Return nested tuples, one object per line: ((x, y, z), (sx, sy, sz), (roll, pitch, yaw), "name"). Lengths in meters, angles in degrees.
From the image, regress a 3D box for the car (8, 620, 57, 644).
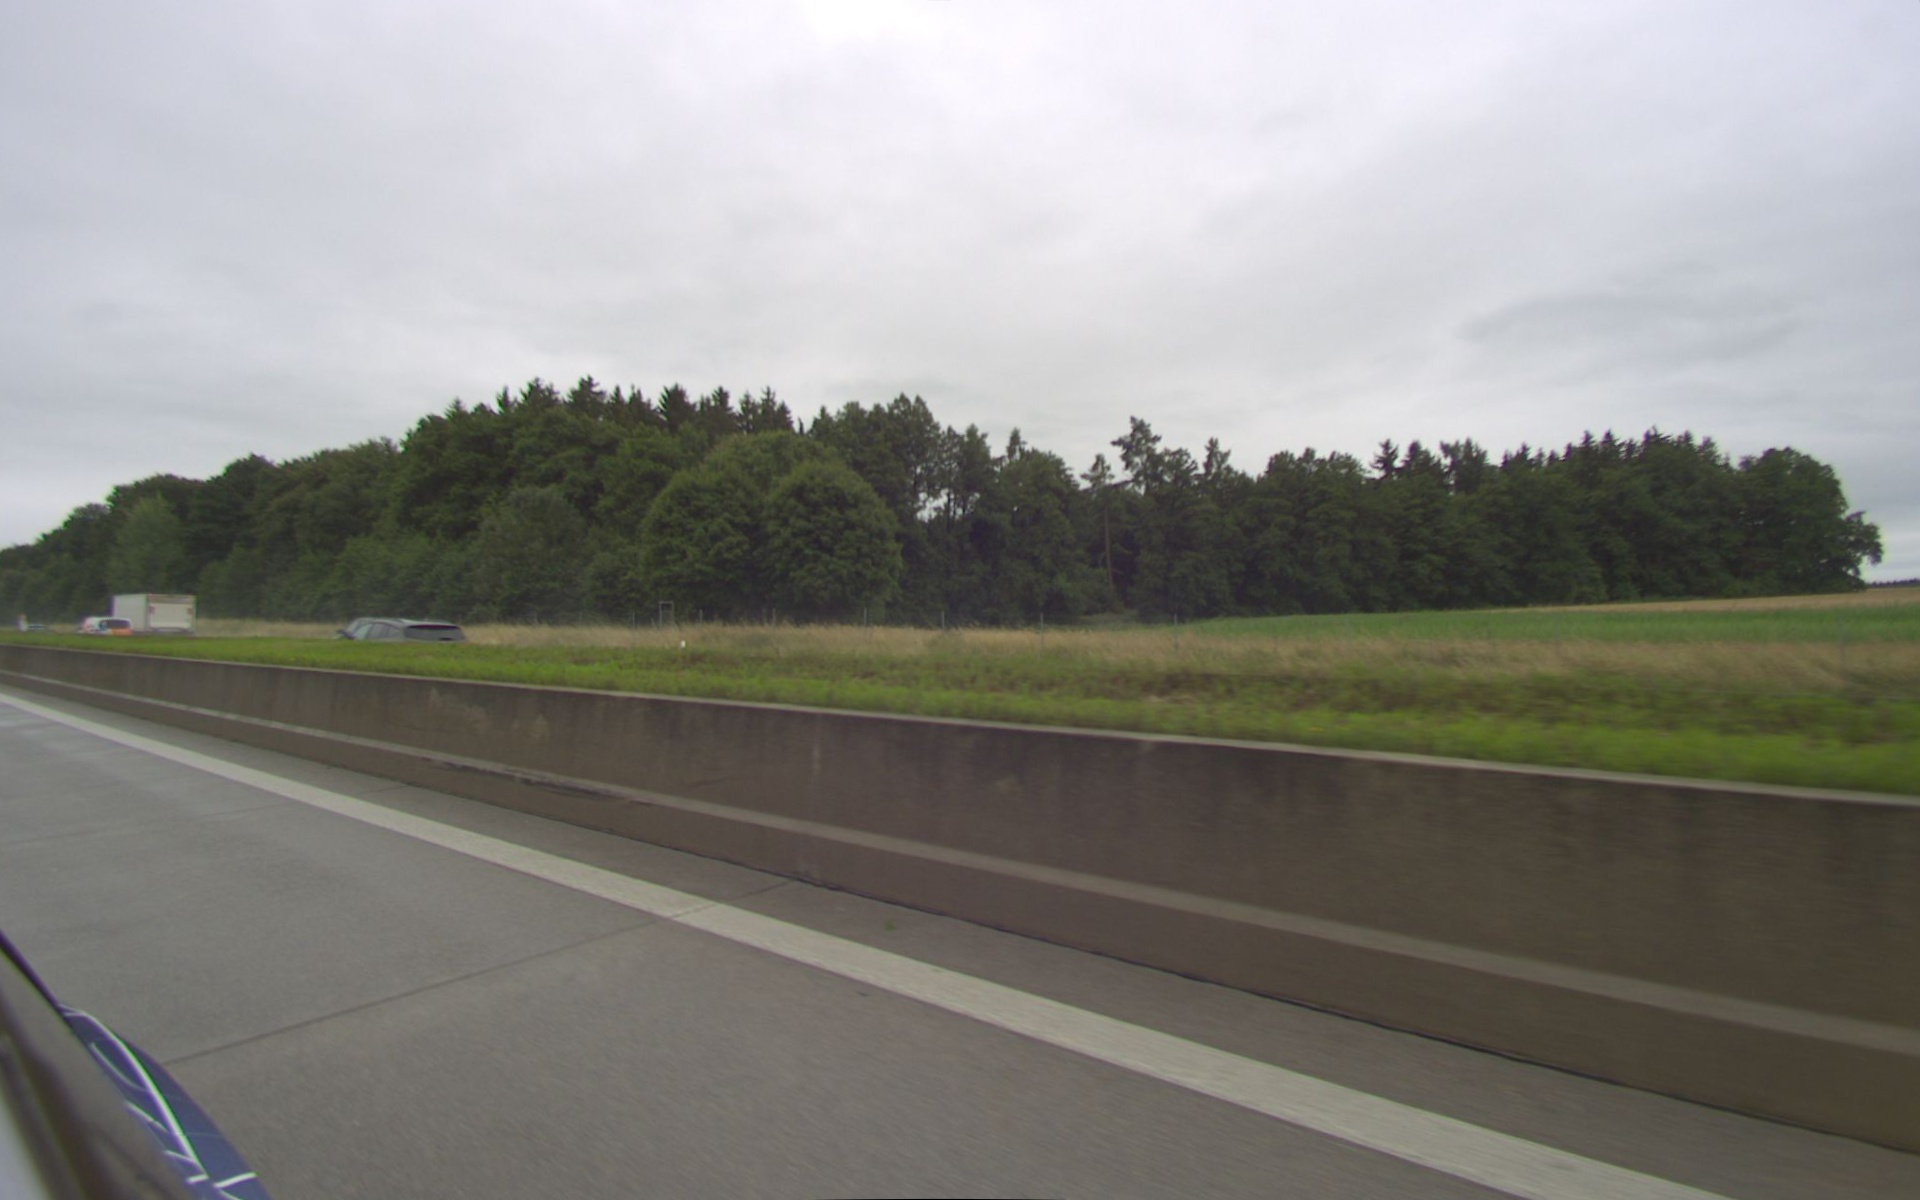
((-68.450, 2.336, 74.671), (5.378, 1.643, 1.970), (-1, -1, 40), "car")

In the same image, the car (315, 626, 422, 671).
((-19.903, 1.607, 33.981), (4.618, 1.398, 1.586), (-2, -2, 39), "car")

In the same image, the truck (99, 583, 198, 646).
((-55.303, 1.094, 68.806), (12.439, 3.885, 2.873), (-3, -3, 40), "truck")

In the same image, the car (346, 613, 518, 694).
((-11.347, 1.089, 21.635), (4.361, 1.549, 1.713), (-1, -1, 40), "car")

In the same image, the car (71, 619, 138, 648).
((-51.665, 2.036, 61.096), (5.846, 1.644, 2.088), (-3, -3, 40), "car")
